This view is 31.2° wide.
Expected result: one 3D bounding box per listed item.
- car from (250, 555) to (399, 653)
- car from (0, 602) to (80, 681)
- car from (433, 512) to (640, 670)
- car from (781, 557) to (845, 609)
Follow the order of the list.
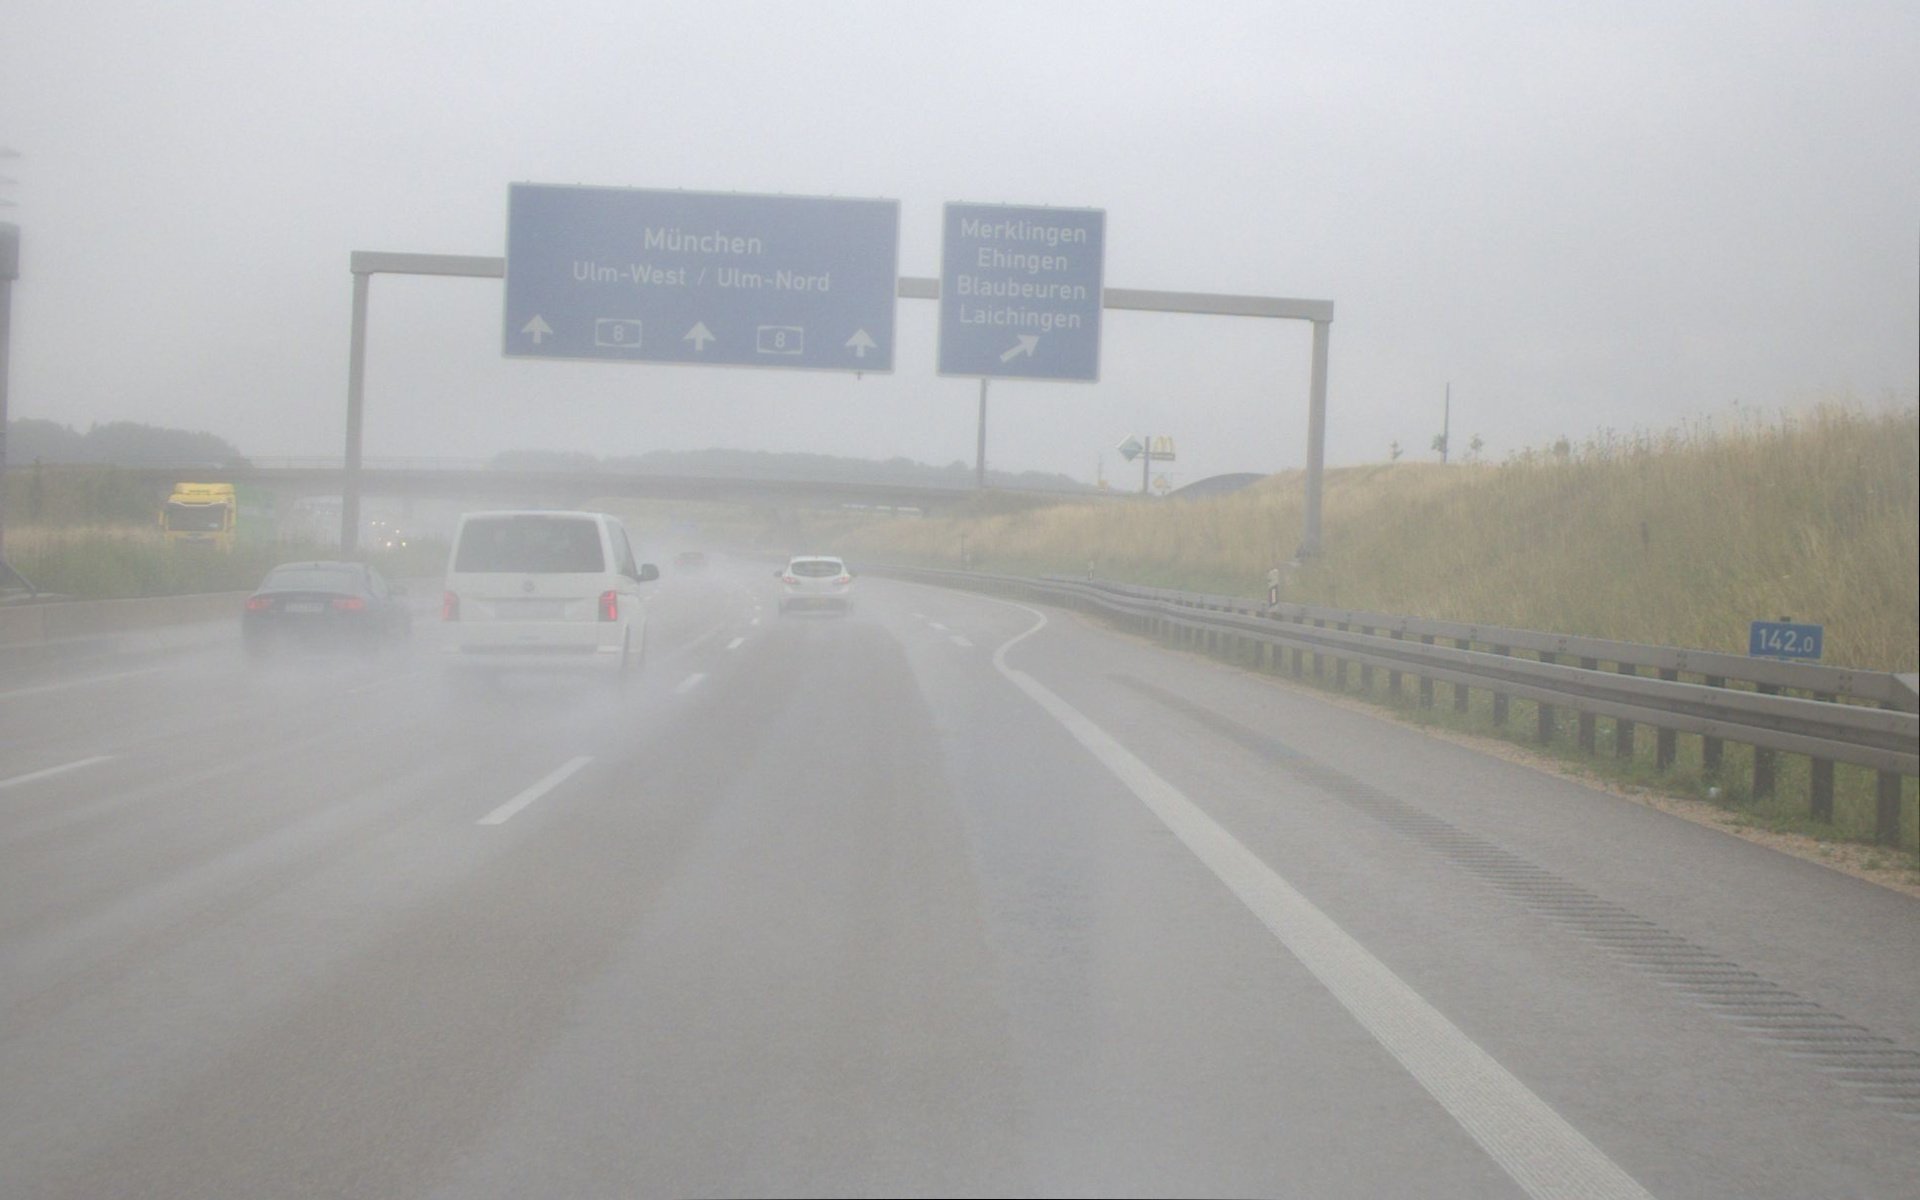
[{"bbox_3d":[-8.432,0.036,45.811,1.467,1.253,3.340,0,1,-2],"label":"car"},{"bbox_3d":[-21.633,0.922,78.606,1.993,1.678,4.444,1,1,-2],"label":"car"},{"bbox_3d":[-4.452,-0.112,36.642,1.897,1.580,4.001,-1,1,-3],"label":"car"},{"bbox_3d":[-3.485,-0.411,81.373,1.467,1.204,2.992,1,1,-3],"label":"car"}]
